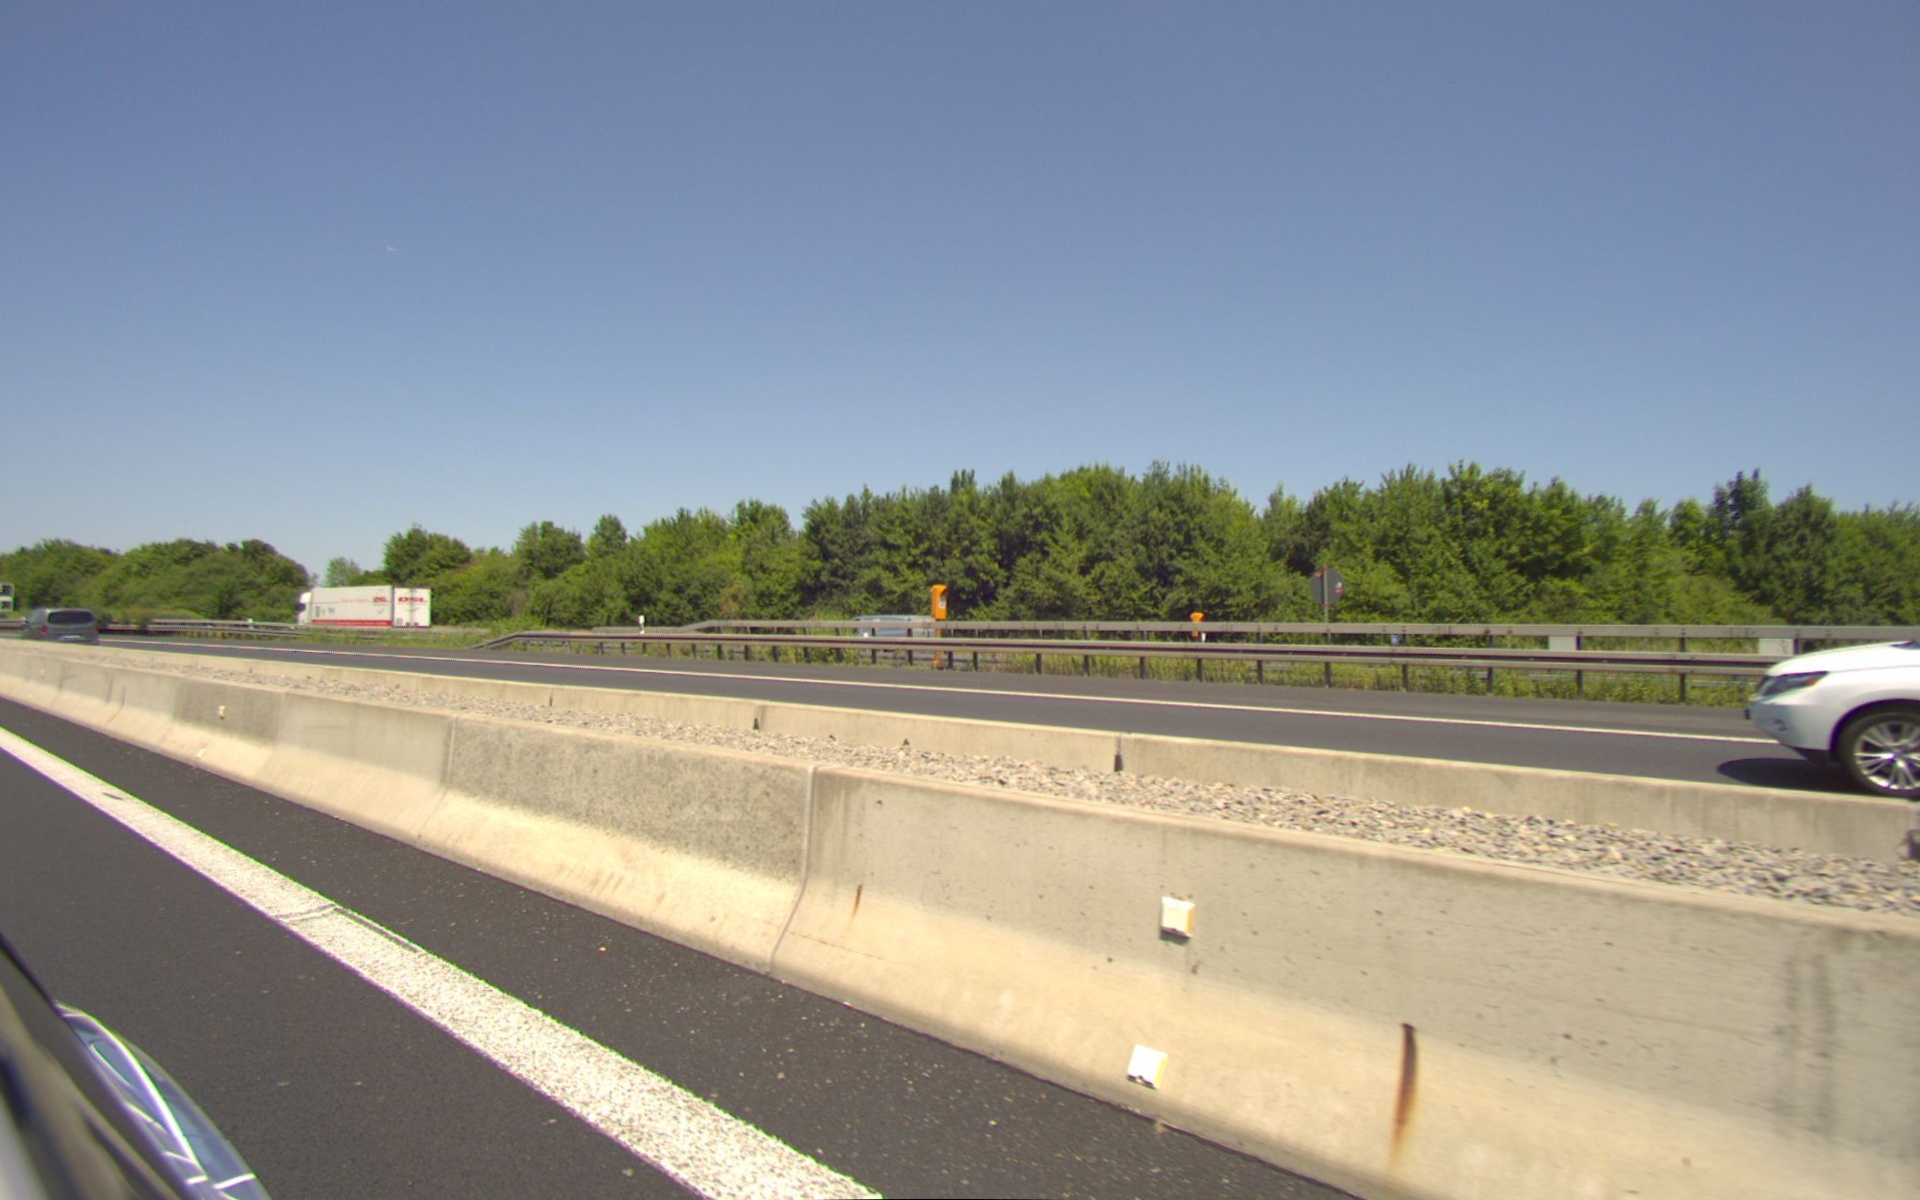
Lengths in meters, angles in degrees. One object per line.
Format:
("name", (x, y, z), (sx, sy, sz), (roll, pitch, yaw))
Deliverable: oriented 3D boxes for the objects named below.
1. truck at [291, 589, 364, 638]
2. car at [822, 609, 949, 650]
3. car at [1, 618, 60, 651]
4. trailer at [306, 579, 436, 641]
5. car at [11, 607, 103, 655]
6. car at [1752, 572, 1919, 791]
("truck", (-47.695, 1.013, 76.340), (5.403, 3.530, 3.053), (-1, -1, 38))
("car", (-2.899, 1.086, 38.624), (4.866, 1.470, 1.973), (-1, -1, 41))
("car", (-54.872, 1.978, 59.730), (4.901, 1.838, 1.973), (-1, -1, 40))
("trailer", (-41.949, 0.721, 71.726), (14.067, 4.027, 3.078), (-1, -1, 39))
("car", (-37.771, 1.253, 42.299), (5.368, 1.872, 2.015), (-1, -1, 39))
("car", (8.893, 0.585, 7.285), (4.928, 1.644, 1.769), (-1, -1, 41))
